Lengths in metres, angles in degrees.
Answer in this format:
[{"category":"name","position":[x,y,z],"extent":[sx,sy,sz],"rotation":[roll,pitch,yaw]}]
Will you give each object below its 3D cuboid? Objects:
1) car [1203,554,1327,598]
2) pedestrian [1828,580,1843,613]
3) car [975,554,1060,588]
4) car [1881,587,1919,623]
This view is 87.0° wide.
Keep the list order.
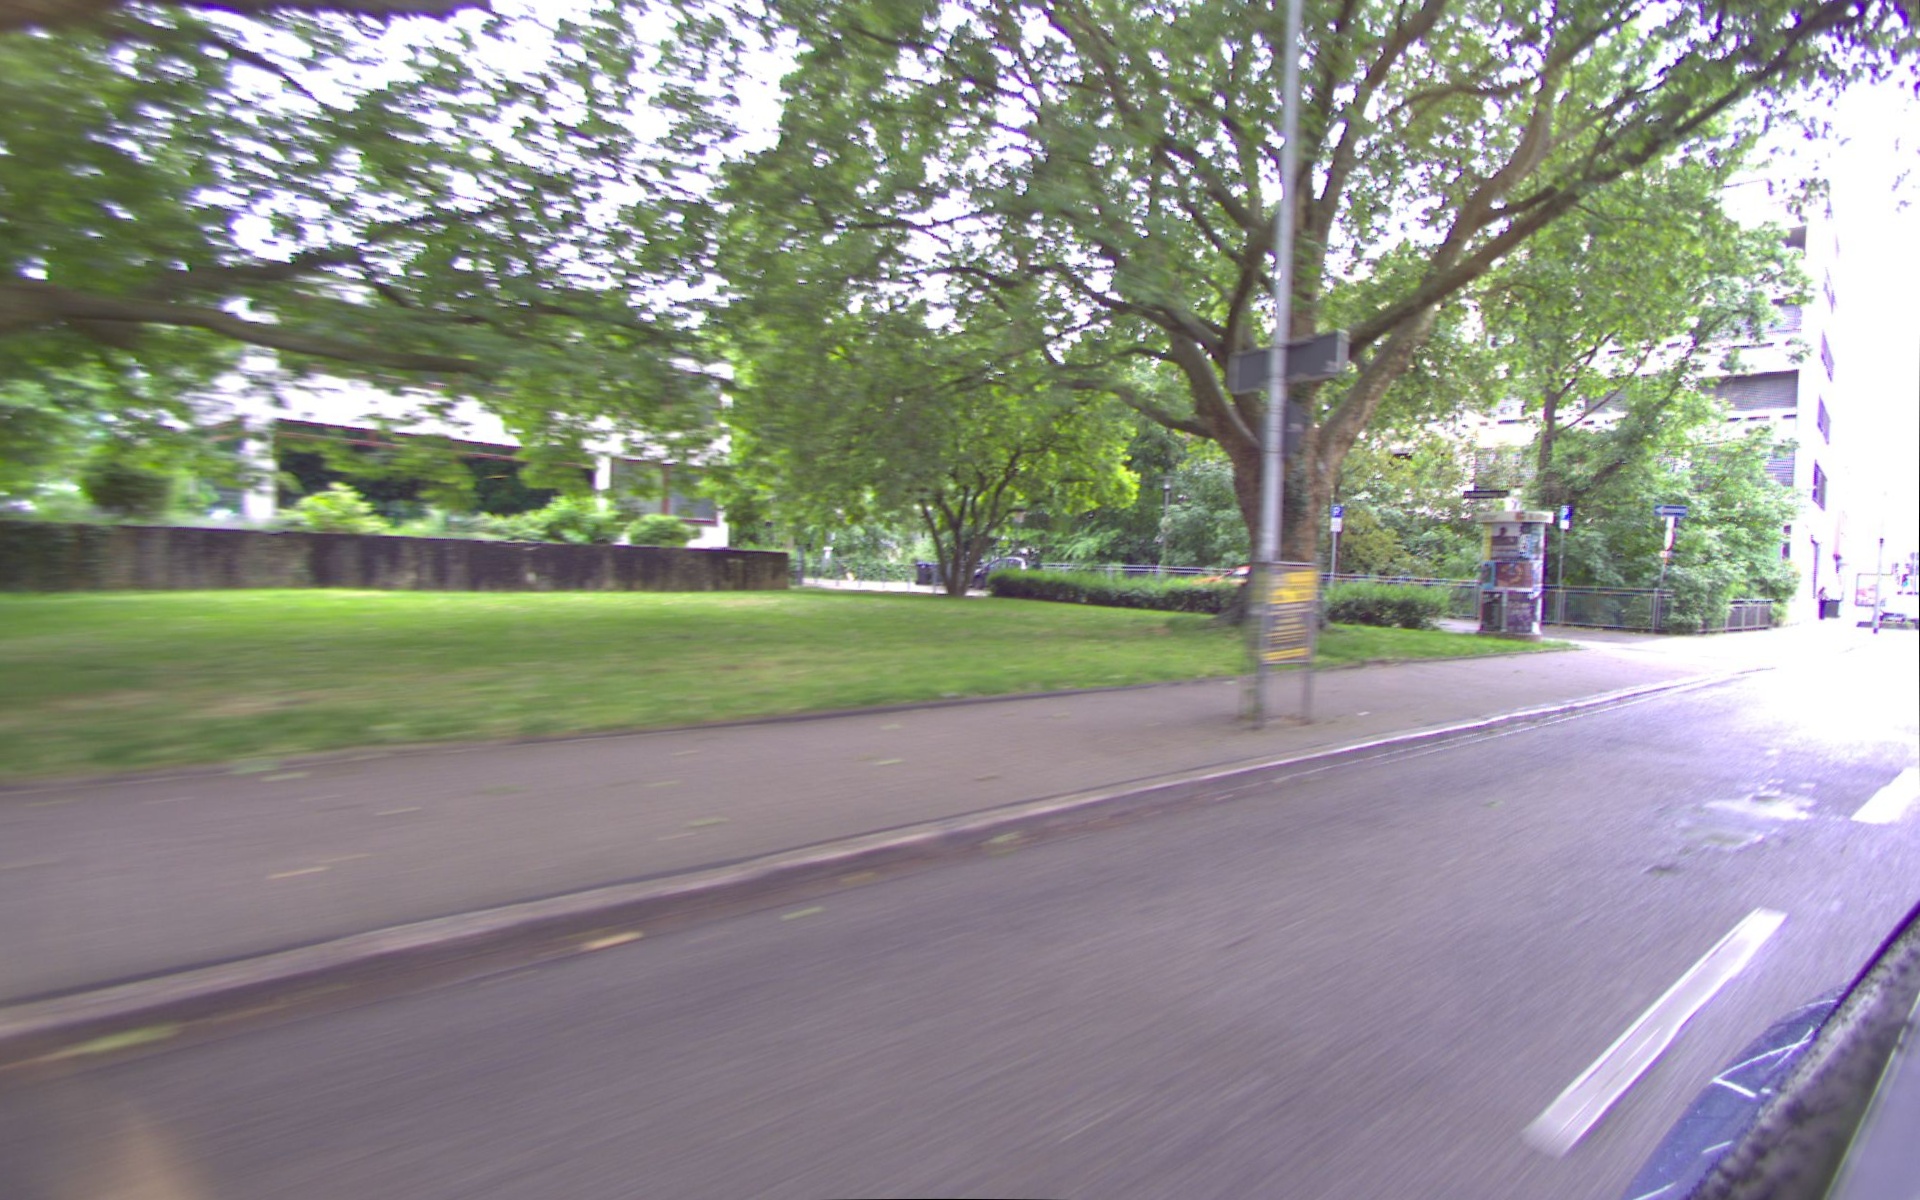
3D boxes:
[{"category":"car","position":[10.425,-0.841,34.748],"extent":[1.551,1.294,3.783],"rotation":[-1,4,-45]},{"category":"pedestrian","position":[41.669,-0.174,48.142],"extent":[0.473,1.549,0.480],"rotation":[0,0,-41]},{"category":"car","position":[2.409,-1.247,42.951],"extent":[3.459,1.294,1.426],"rotation":[5,4,44]},{"category":"car","position":[42.831,0.250,45.447],"extent":[3.618,1.449,1.681],"rotation":[0,6,-42]}]
